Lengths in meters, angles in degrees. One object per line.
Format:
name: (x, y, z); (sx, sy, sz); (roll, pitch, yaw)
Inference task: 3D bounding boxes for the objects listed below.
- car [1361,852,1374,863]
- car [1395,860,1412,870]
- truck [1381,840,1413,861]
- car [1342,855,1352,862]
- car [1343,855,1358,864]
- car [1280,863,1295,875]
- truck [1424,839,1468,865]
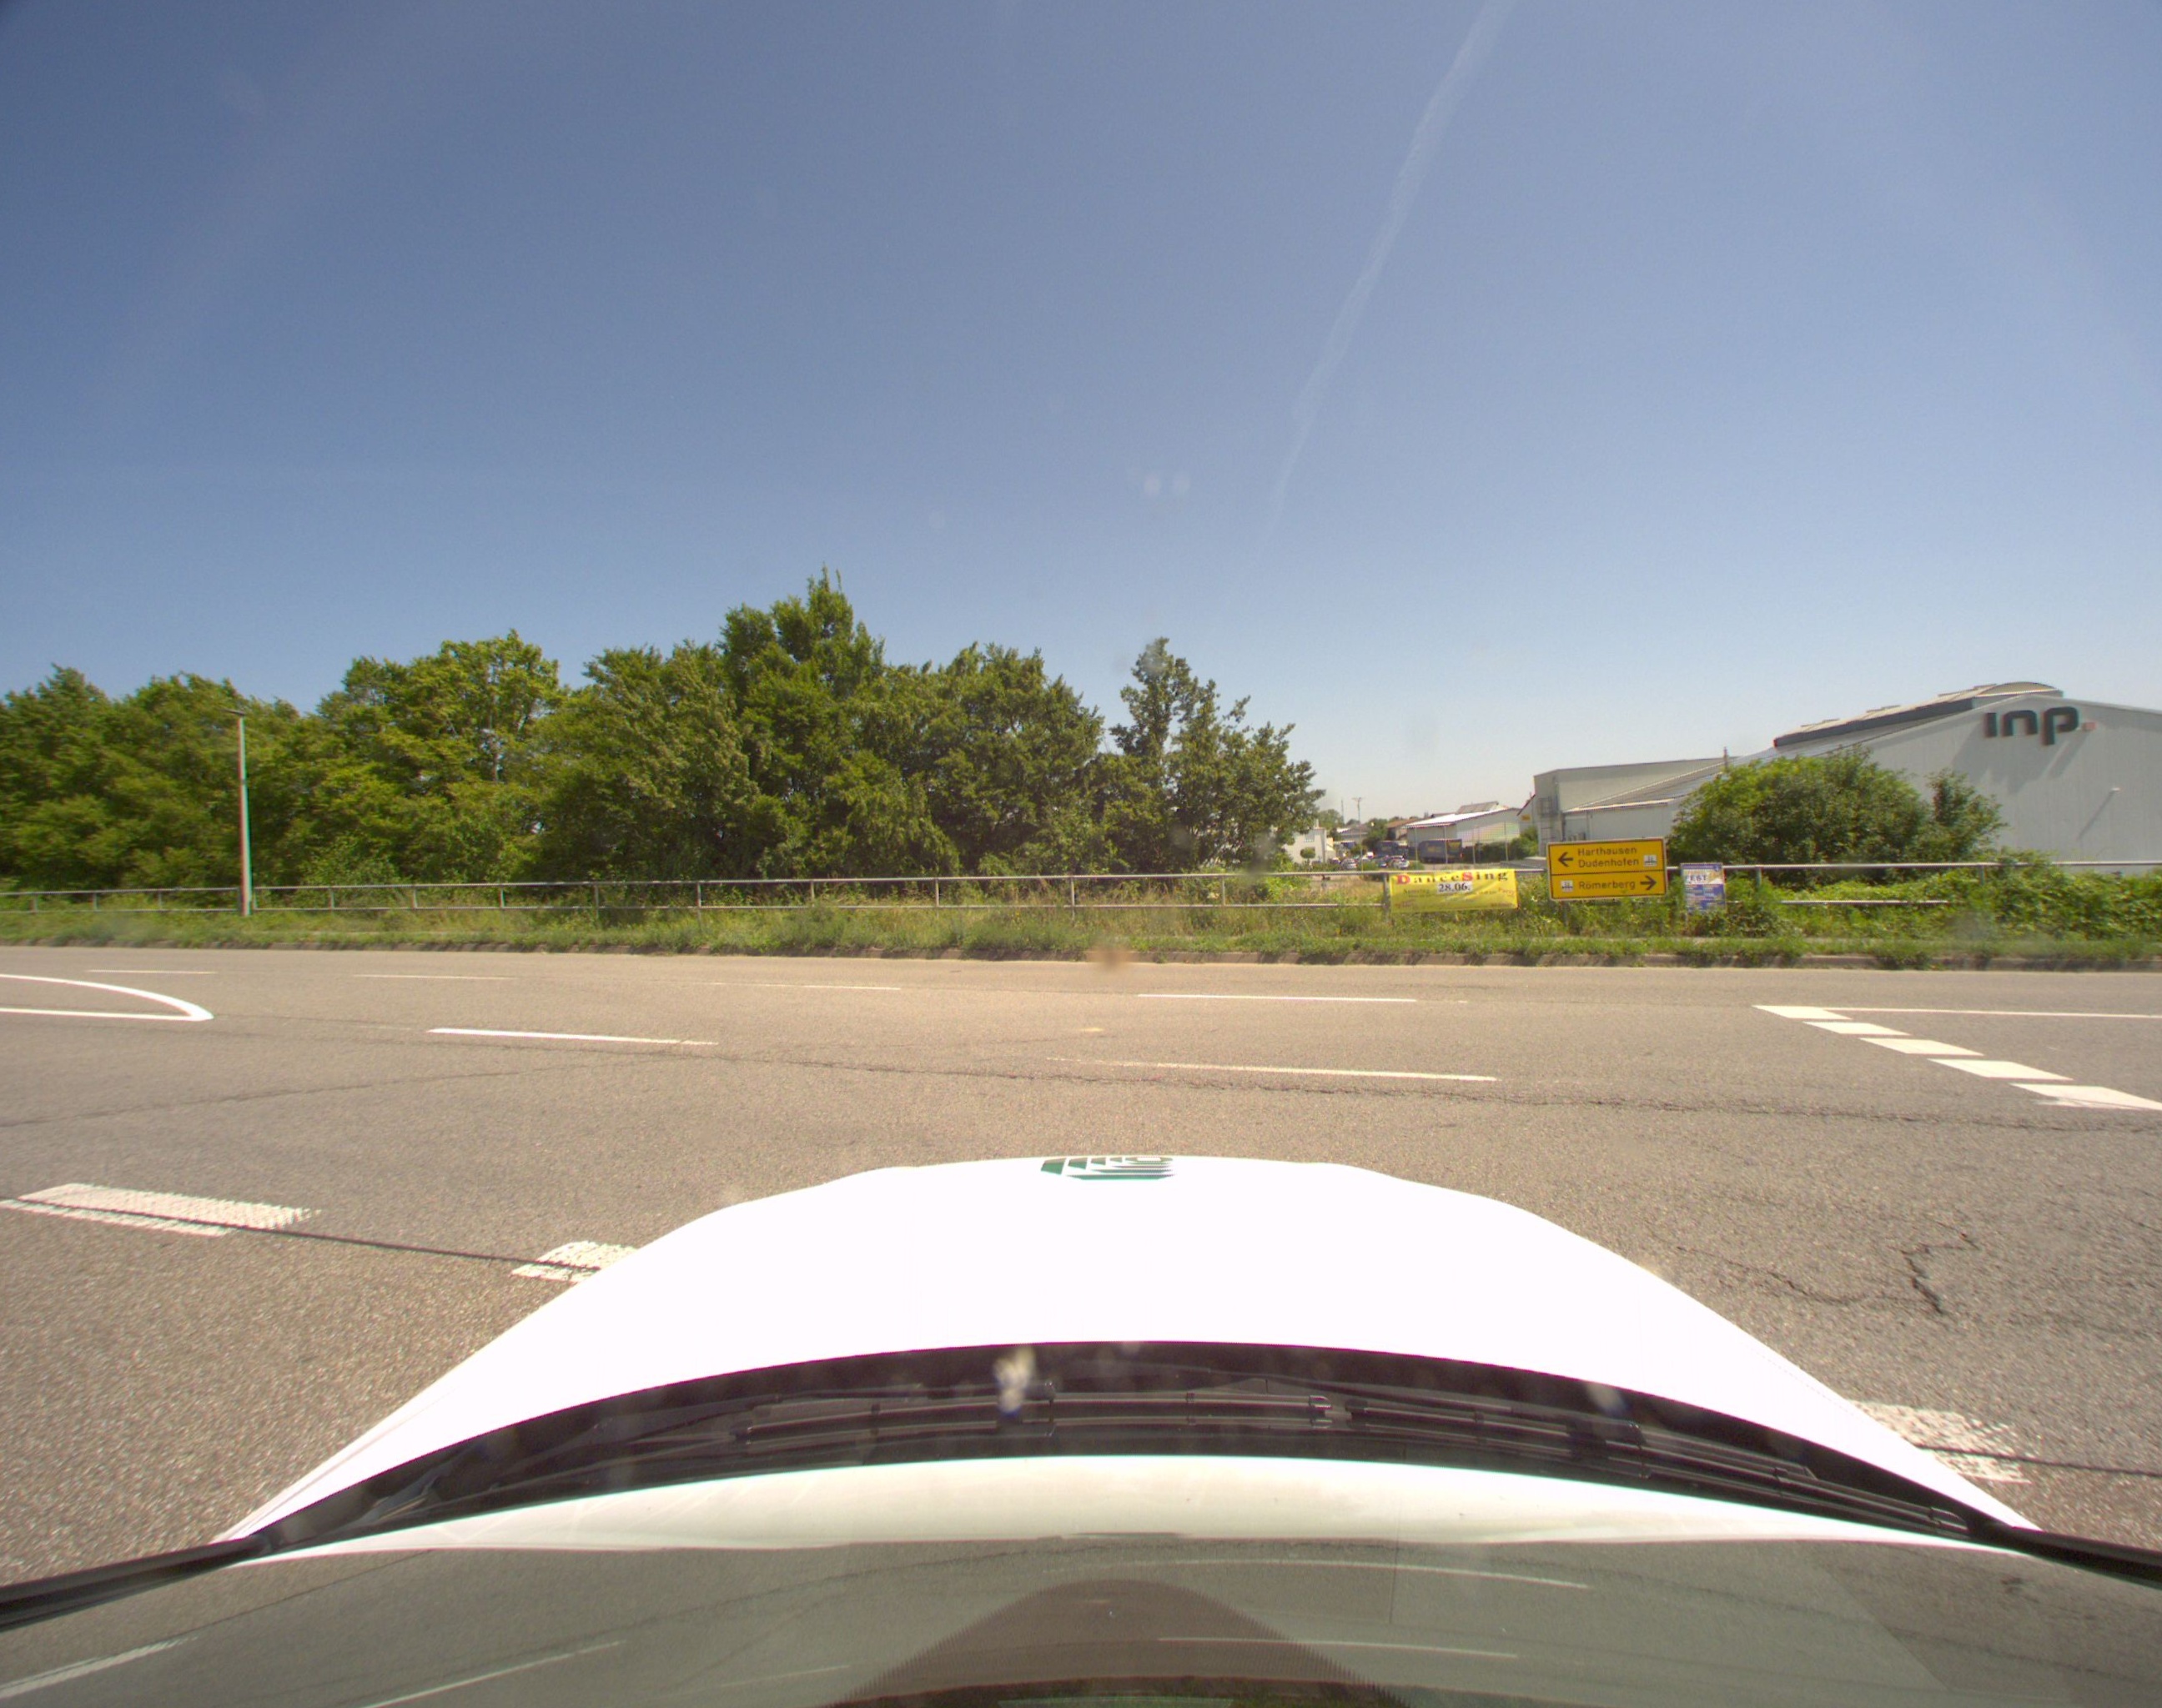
car: (58.469, 0.691, 166.429); (1.707, 2.013, 4.010); (-2, 0, 9)
car: (50.227, 1.637, 126.832); (1.673, 1.363, 3.846); (-4, 0, 9)
truck: (67.890, -0.697, 175.297); (3.391, 4.311, 14.632); (-2, 0, 9)
car: (56.690, 0.920, 173.602); (1.442, 1.350, 3.323); (-2, 0, 8)
car: (53.449, 1.149, 161.427); (1.982, 1.731, 4.875); (-1, 0, 8)
car: (36.864, 2.644, 145.341); (1.982, 2.013, 4.874); (-1, 0, 8)
truck: (62.917, -0.359, 140.728); (3.685, 4.311, 13.381); (-2, 0, 11)
